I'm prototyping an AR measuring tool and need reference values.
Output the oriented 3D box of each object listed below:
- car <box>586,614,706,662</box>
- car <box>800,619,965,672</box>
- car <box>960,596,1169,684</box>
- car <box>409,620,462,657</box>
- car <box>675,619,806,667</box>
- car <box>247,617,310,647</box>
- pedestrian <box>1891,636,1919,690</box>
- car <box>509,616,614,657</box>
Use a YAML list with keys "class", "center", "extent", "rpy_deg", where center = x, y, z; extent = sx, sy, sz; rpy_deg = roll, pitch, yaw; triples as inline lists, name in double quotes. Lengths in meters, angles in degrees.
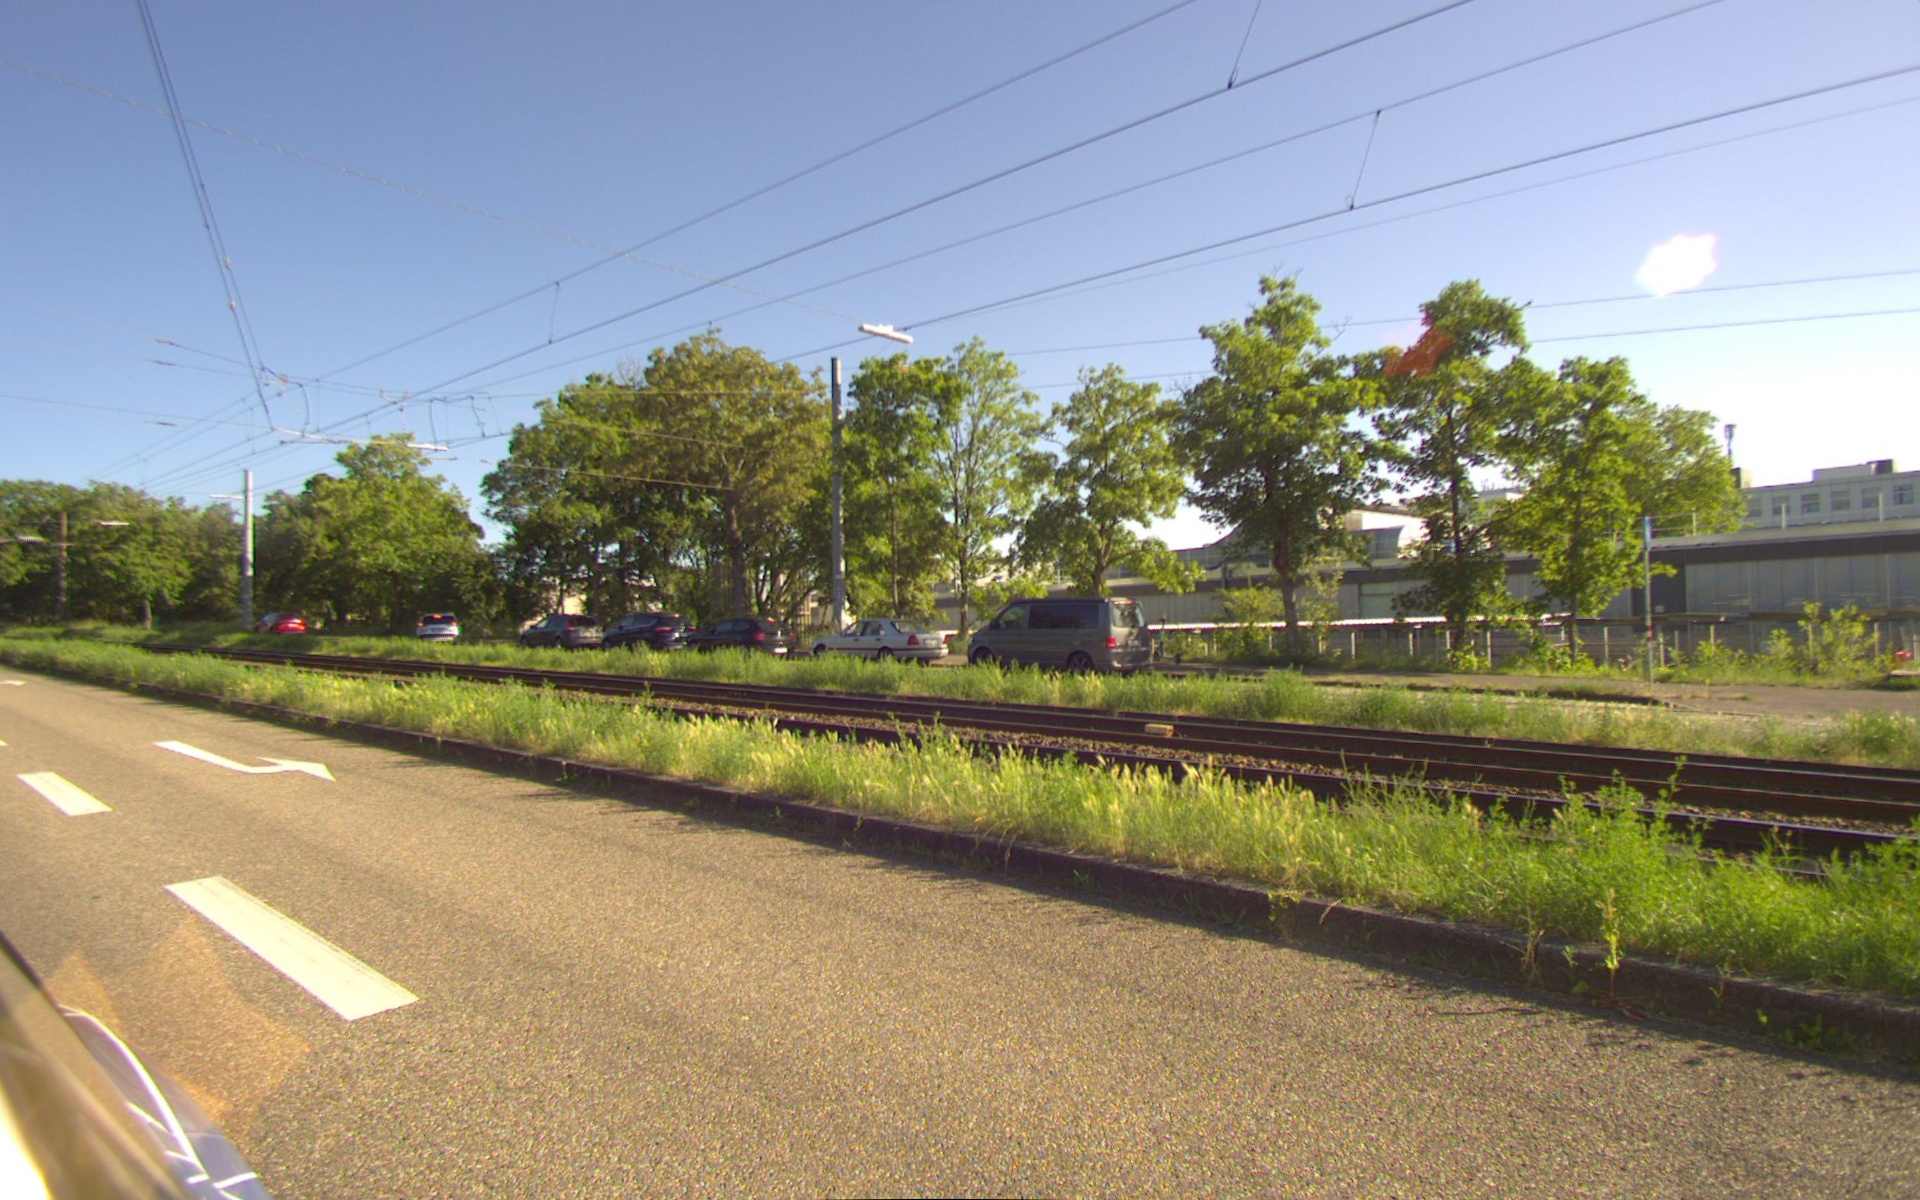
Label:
- class: "car"
  center: [-11.466, 1.358, 36.826]
  extent: [4.614, 1.599, 2.102]
  rpy_deg: [-2, -1, 41]
- class: "car"
  center: [-2.295, 1.293, 29.265]
  extent: [4.612, 1.391, 2.103]
  rpy_deg: [-2, -1, 40]
- class: "car"
  center: [2.476, 0.946, 24.773]
  extent: [4.684, 1.949, 2.178]
  rpy_deg: [-2, -1, 42]
- class: "car"
  center: [-23.615, 1.706, 45.671]
  extent: [1.829, 1.569, 4.170]
  rpy_deg: [-1, -1, -23]
- class: "car"
  center: [-7.272, 1.398, 33.273]
  extent: [4.486, 1.437, 1.935]
  rpy_deg: [-2, -1, 42]
- class: "car"
  center: [-42.488, 1.997, 63.034]
  extent: [4.797, 1.746, 2.290]
  rpy_deg: [-2, -1, 43]
- class: "pedestrian"
  center: [23.502, 1.550, 25.054]
  extent: [0.435, 1.310, 0.441]
  rpy_deg: [-1, -2, -1]
- class: "car"
  center: [-16.295, 1.480, 41.303]
  extent: [4.557, 1.575, 2.103]
  rpy_deg: [-2, -1, 41]
